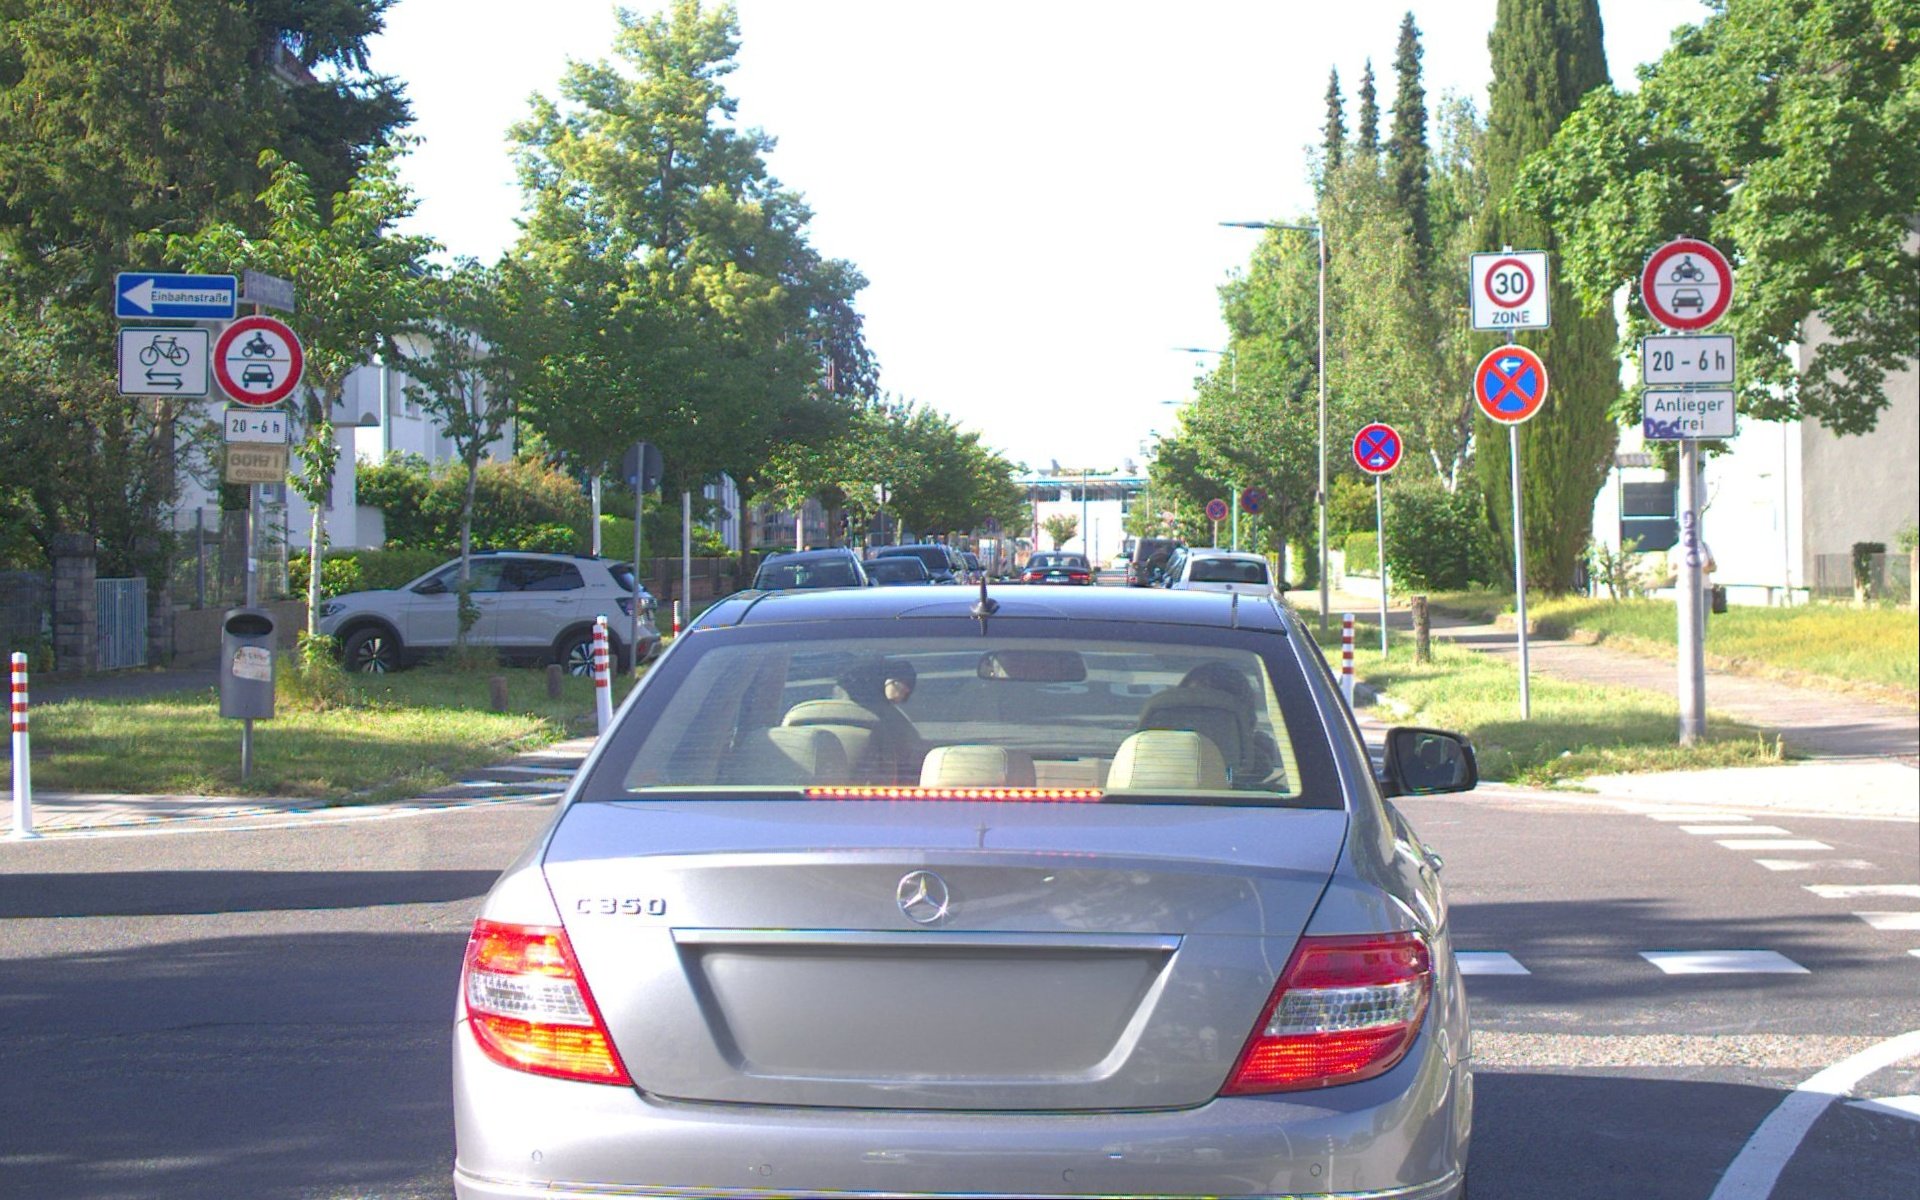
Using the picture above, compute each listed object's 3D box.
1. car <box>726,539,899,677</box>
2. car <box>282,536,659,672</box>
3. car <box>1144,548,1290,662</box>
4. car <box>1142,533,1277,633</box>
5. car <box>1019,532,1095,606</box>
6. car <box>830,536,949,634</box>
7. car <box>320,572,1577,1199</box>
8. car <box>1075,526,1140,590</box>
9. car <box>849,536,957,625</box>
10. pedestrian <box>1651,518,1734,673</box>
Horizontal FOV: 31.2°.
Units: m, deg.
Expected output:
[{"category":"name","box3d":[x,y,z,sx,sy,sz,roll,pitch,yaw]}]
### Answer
[{"category":"car","box3d":[-1.904,0.068,45.494,1.993,1.604,4.000,-4,1,0]},{"category":"car","box3d":[-5.709,0.035,40.495,4.192,1.558,1.842,0,1,-1]},{"category":"car","box3d":[3.512,0.039,47.577,1.733,1.474,3.725,-1,1,0]},{"category":"car","box3d":[4.192,-0.310,58.286,1.993,1.604,4.000,-1,1,0]},{"category":"car","box3d":[2.175,-0.726,77.737,1.597,1.604,3.644,-1,1,0]},{"category":"car","box3d":[-1.266,-0.305,63.290,1.993,1.604,4.000,-4,1,0]},{"category":"car","box3d":[0.088,0.677,7.016,1.836,1.436,4.000,0,1,3]},{"category":"car","box3d":[4.409,-1.271,103.208,1.855,1.835,4.000,-1,1,2]},{"category":"car","box3d":[-1.111,-0.411,69.081,1.993,1.604,4.000,-4,1,0]},{"category":"pedestrian","box3d":[7.741,-0.054,36.360,0.766,1.605,0.834,-1,1,7]}]
